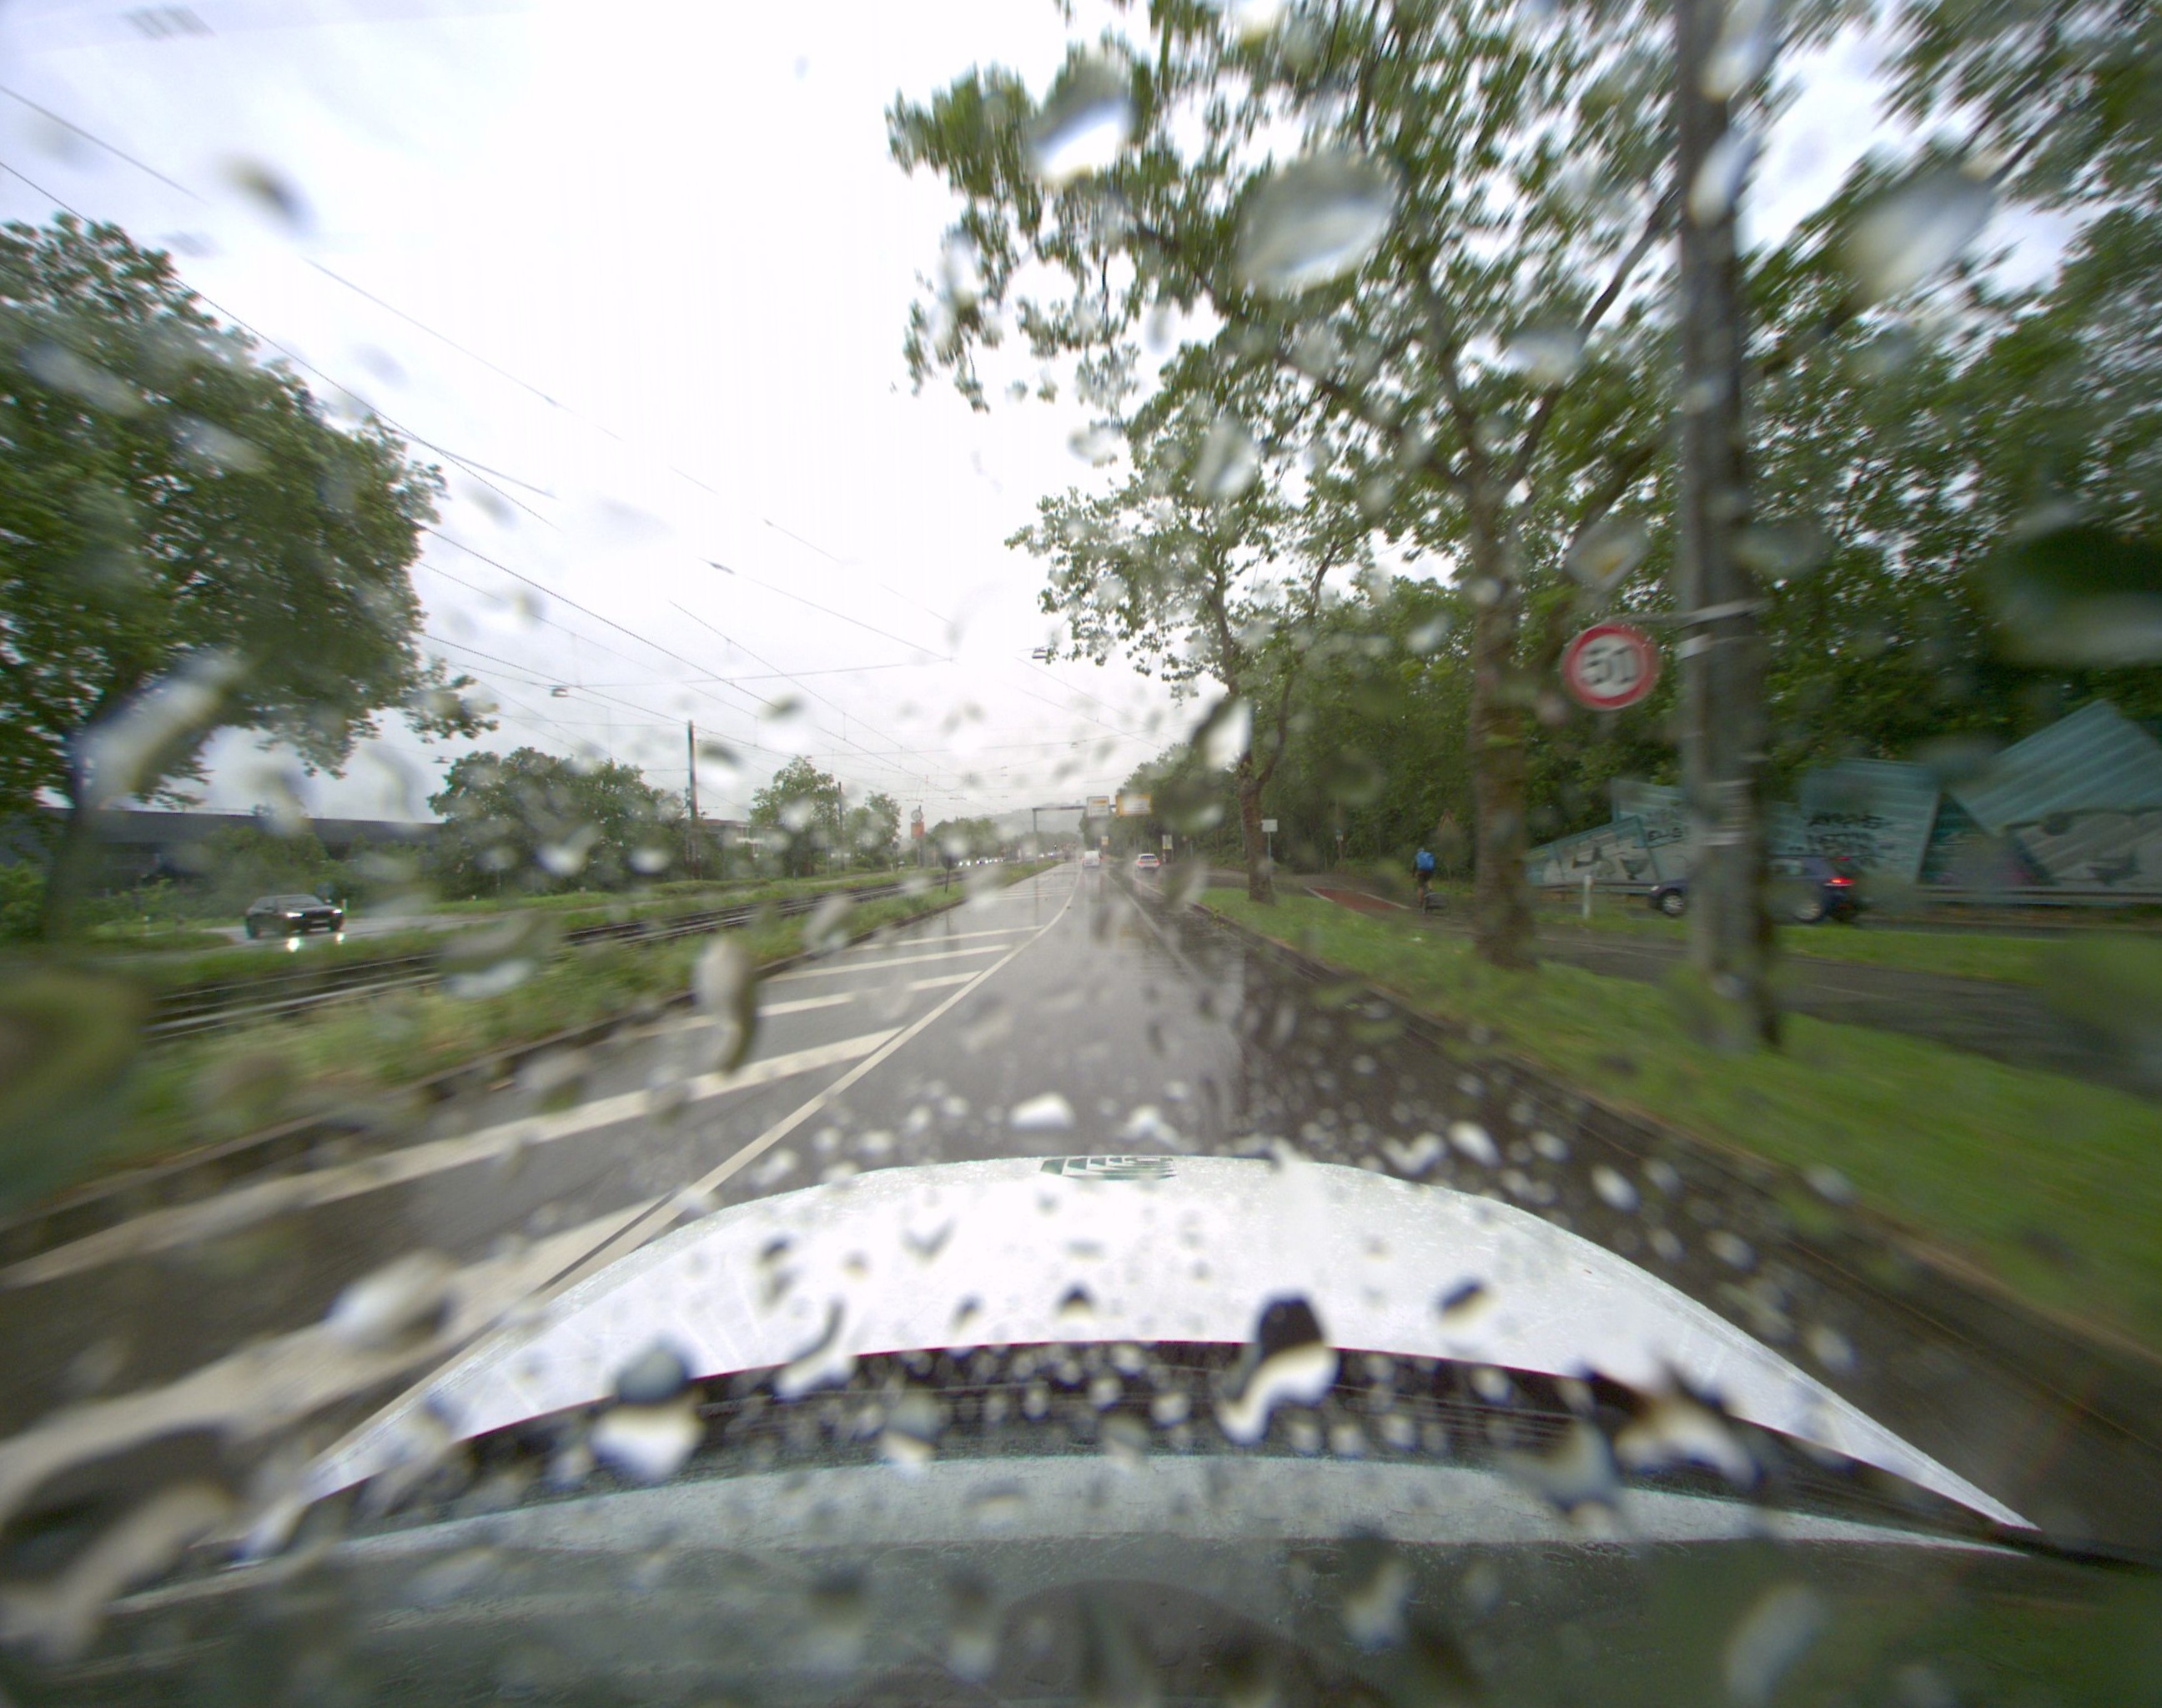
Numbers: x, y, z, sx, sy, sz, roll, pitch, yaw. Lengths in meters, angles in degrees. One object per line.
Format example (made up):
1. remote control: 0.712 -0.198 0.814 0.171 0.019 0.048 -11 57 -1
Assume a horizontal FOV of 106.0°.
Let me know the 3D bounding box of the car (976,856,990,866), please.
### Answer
1. car: -16.930 1.265 141.072 1.939 1.616 4.982 -2 0 -3

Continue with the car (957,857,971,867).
1. car: -20.433 1.387 142.418 1.939 1.686 4.775 -2 0 -3

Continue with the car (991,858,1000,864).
1. car: -19.786 1.641 188.908 1.715 1.494 3.999 -2 0 -1

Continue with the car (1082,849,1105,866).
1. car: 1.129 0.300 76.713 2.071 1.420 4.000 -3 0 0

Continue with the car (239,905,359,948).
1. car: -32.342 2.941 33.675 4.225 1.528 2.232 -2 0 26

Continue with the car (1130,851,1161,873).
1. car: 4.872 0.579 62.236 1.942 1.536 4.465 -2 0 -1

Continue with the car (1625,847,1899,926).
1. car: 15.459 0.684 18.816 1.872 1.536 4.478 -2 0 -26
